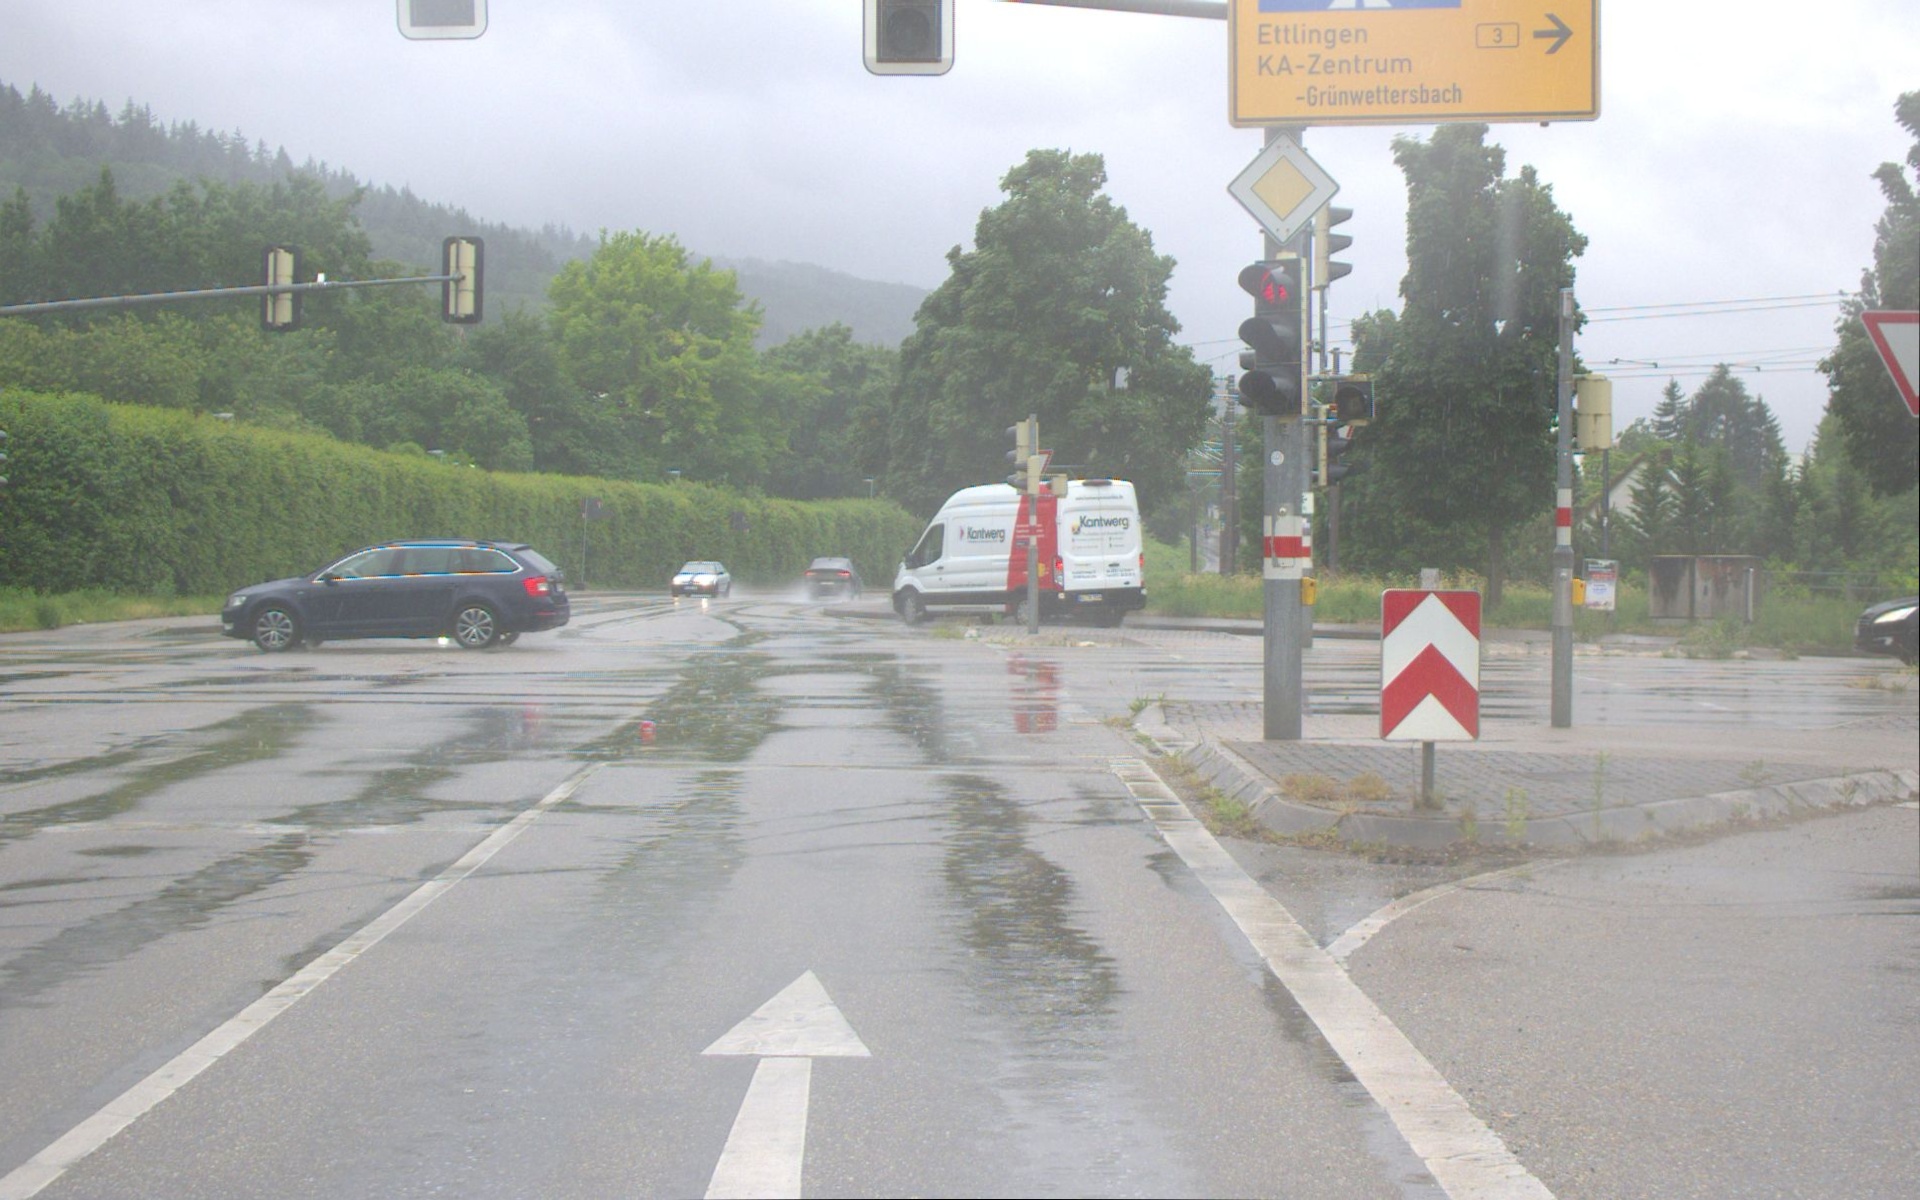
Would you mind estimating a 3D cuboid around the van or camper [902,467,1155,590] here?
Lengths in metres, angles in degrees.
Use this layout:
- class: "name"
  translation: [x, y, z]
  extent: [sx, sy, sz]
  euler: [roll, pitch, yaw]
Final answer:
- class: "van or camper"
  translation: [1.206, -1.326, 63.048]
  extent: [2.154, 2.161, 4.864]
  euler: [0, 2, -35]

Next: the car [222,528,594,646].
- class: "car"
  translation: [-7.383, -0.195, 46.247]
  extent: [4.670, 1.548, 1.822]
  euler: [0, 1, 3]

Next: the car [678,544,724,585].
- class: "car"
  translation: [-9.766, -1.334, 129.827]
  extent: [1.558, 1.476, 3.361]
  euler: [1, 1, -1]

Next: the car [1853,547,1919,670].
- class: "car"
  translation: [14.104, 0.097, 44.429]
  extent: [4.670, 1.548, 1.822]
  euler: [0, 1, 2]

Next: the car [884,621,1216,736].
- class: "car"
  translation: [1.311, 1.107, 49.298]
  extent: [4.670, 1.548, 1.822]
  euler: [0, 1, 3]
